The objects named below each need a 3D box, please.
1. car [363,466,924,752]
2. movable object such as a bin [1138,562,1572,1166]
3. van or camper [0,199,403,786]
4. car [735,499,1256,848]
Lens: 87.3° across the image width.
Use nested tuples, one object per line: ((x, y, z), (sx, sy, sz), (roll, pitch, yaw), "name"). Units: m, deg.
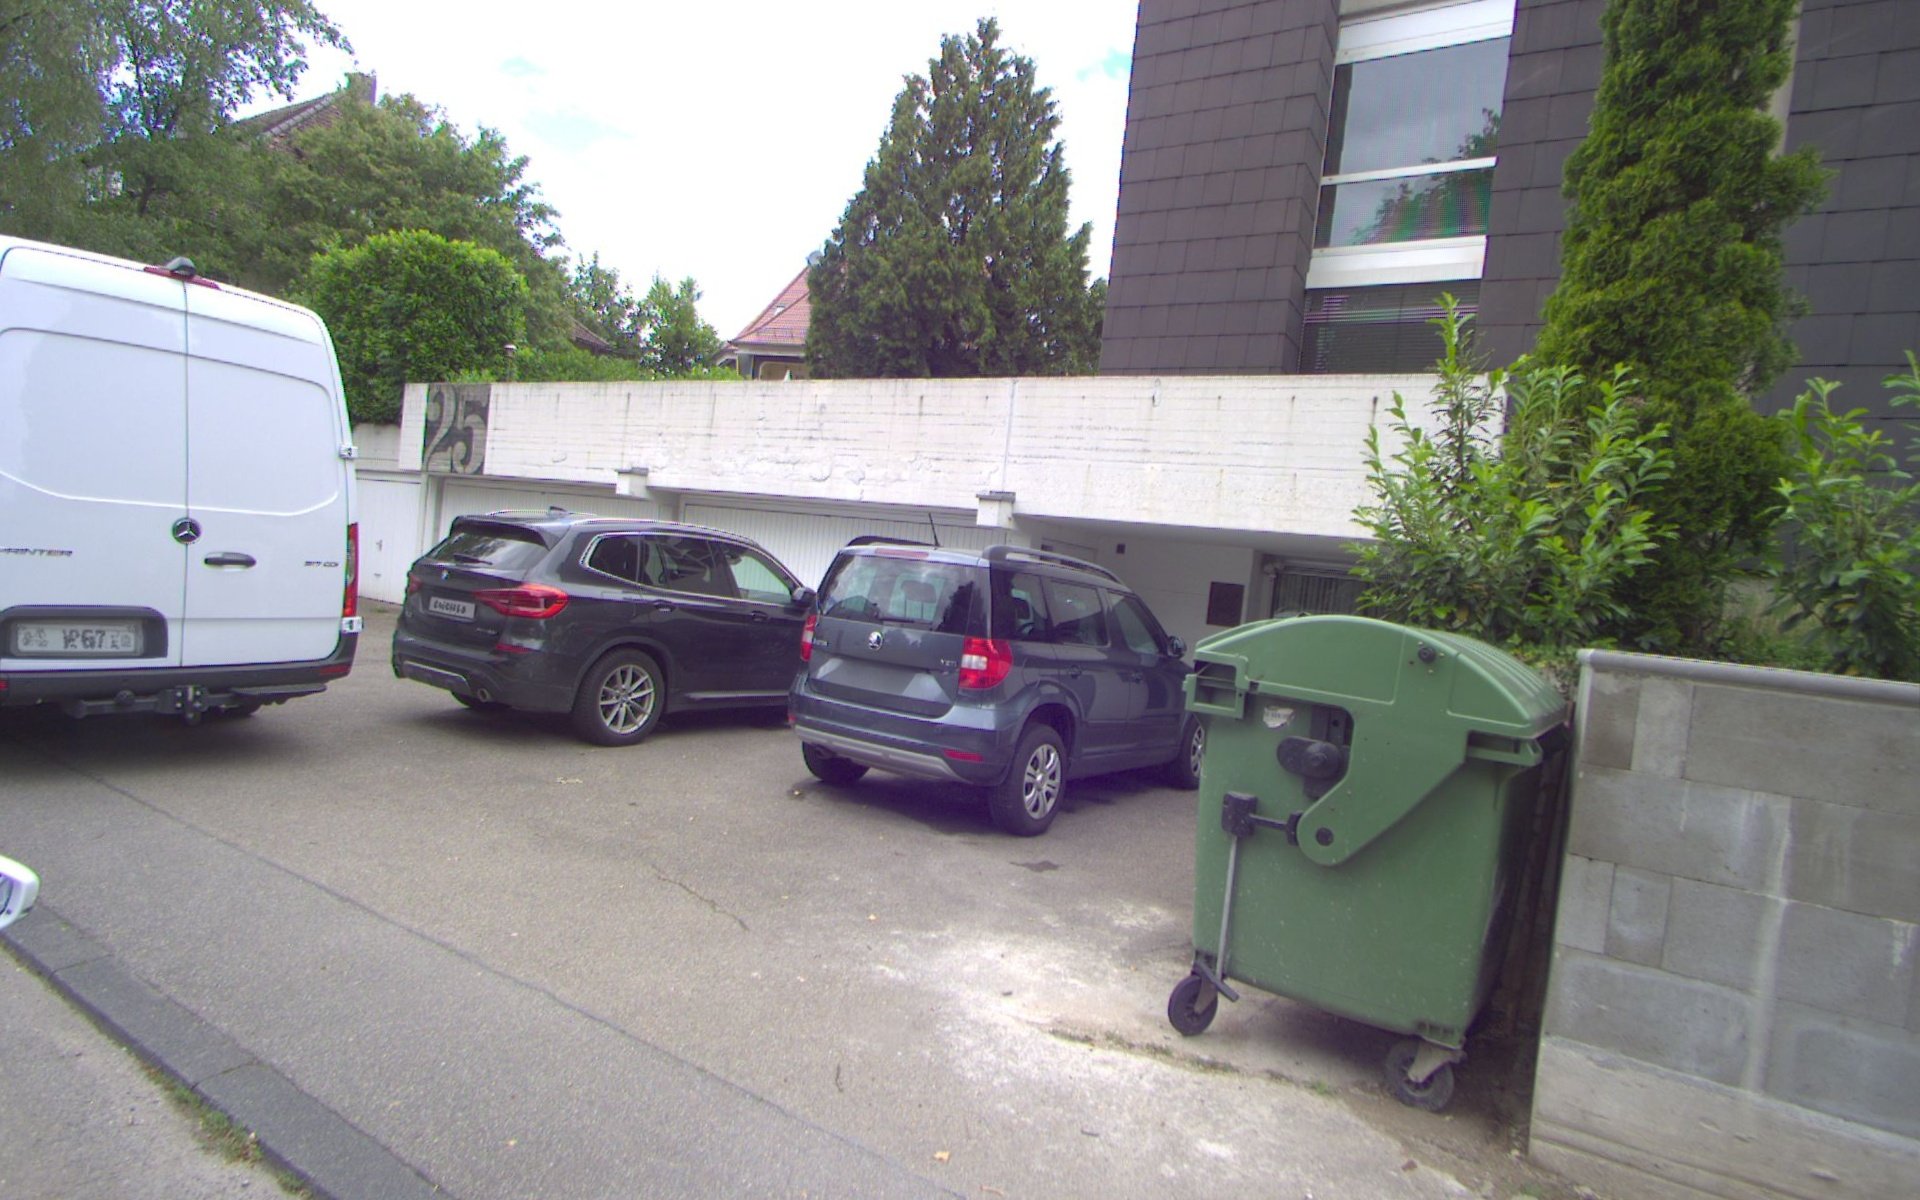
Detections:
((-2.355, 0.124, 8.678), (1.710, 1.772, 4.419), (7, 1, 33), "car")
((1.358, 0.729, 3.390), (1.016, 1.550, 1.034), (7, 1, 33), "movable object such as a bin")
((-6.699, -0.734, 6.902), (6.432, 2.653, 1.995), (7, 1, 32), "van or camper")
((0.540, 0.454, 7.396), (1.804, 1.772, 3.973), (7, 1, 35), "car")
